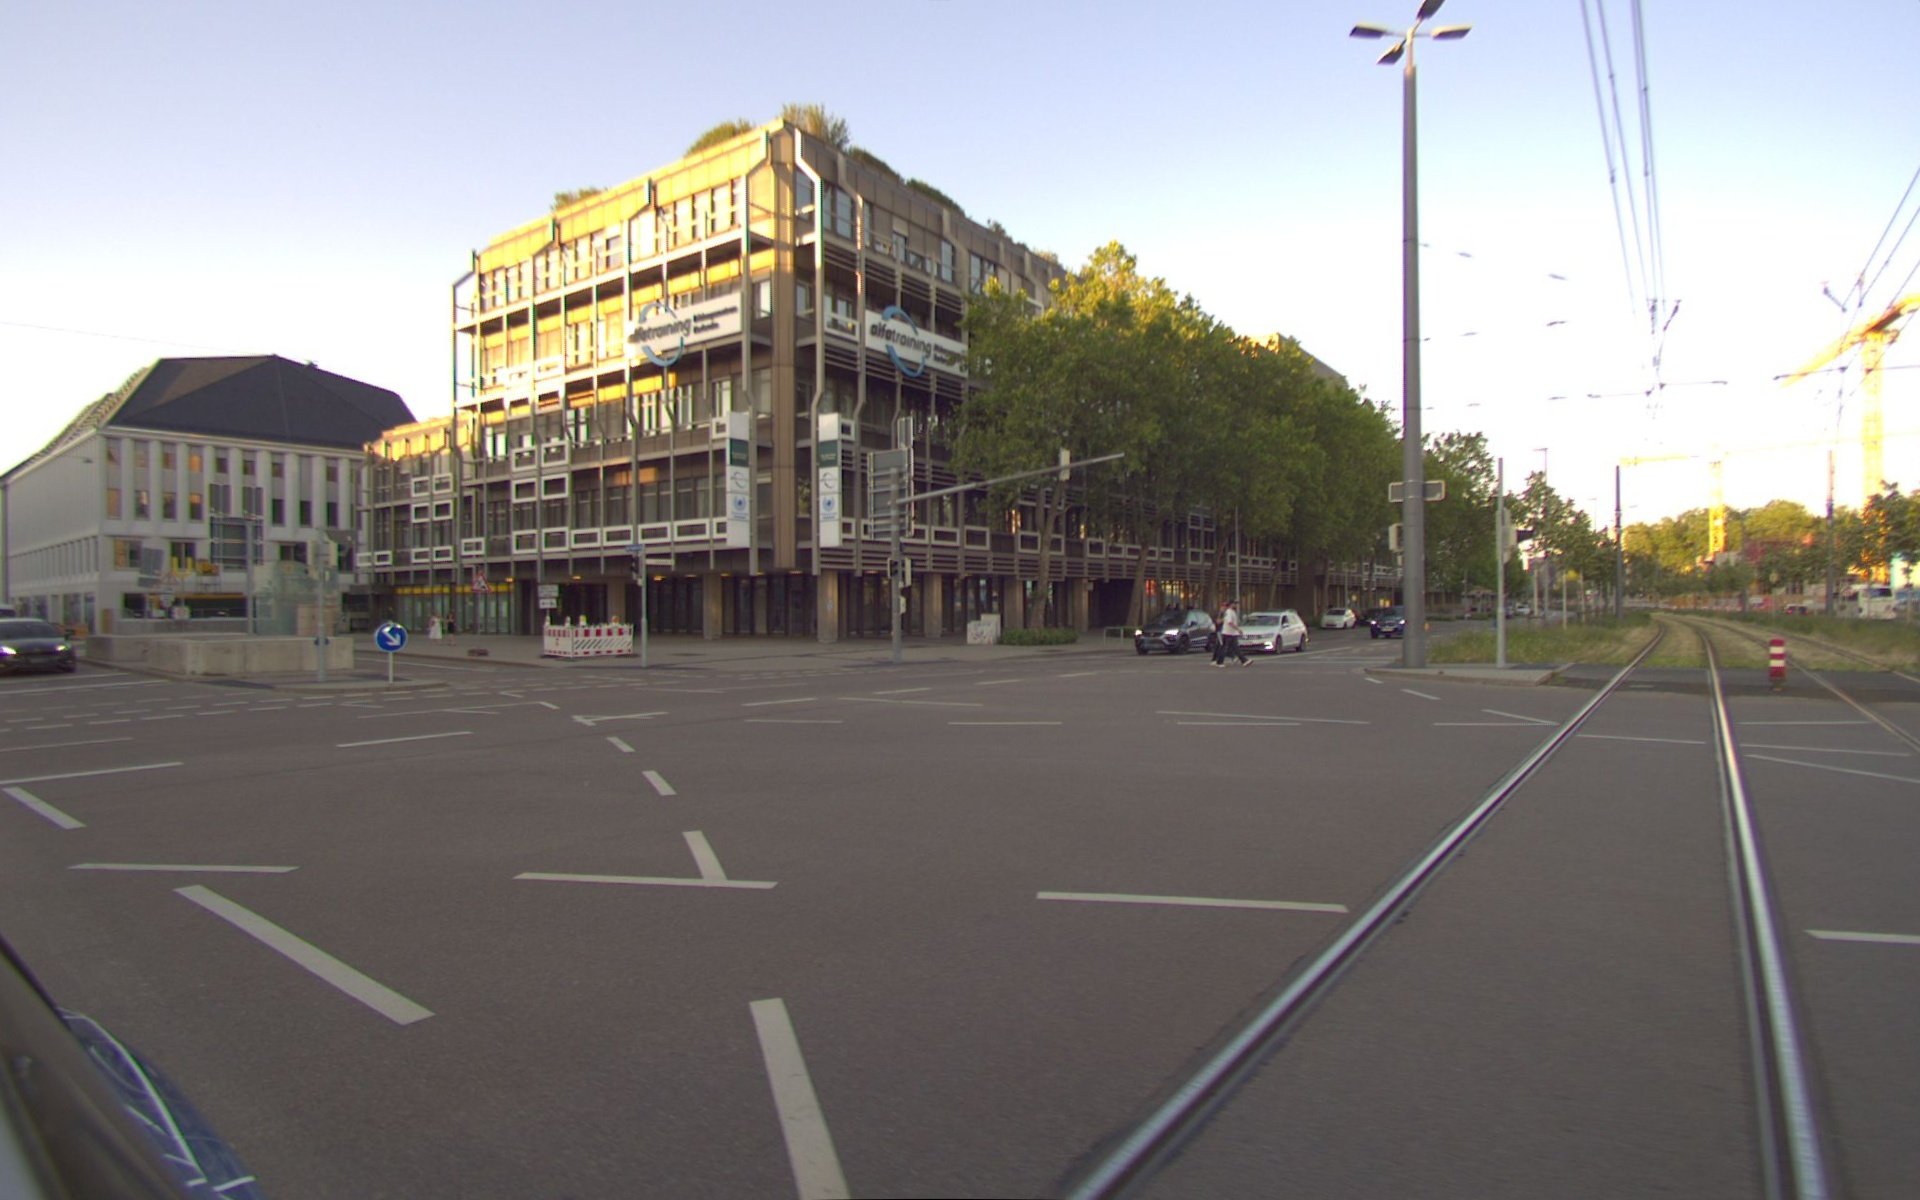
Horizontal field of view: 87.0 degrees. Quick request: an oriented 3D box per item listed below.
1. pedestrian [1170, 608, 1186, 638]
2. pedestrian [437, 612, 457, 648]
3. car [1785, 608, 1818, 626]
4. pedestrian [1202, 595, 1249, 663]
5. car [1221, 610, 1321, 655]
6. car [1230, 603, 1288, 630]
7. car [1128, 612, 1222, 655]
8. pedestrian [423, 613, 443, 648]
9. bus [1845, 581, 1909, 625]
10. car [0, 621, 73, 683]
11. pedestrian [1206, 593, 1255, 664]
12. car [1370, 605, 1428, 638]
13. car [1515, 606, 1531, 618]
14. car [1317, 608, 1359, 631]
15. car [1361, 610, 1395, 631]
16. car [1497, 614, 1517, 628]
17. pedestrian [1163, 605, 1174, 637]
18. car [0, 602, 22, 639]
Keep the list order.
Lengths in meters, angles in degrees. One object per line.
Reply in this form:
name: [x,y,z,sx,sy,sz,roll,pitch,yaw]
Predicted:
pedestrian: [13.942,1.467,64.693,0.755,1.819,0.714,1,2,35]
pedestrian: [-24.293,1.421,47.905,0.702,1.651,0.608,0,0,40]
car: [76.580,1.511,92.157,1.737,1.596,4.418,-1,-1,33]
pedestrian: [6.938,0.744,26.401,0.957,1.734,0.814,0,0,36]
car: [11.153,1.116,36.072,1.849,1.468,4.531,-1,-1,39]
car: [18.017,0.981,60.781,1.740,1.596,4.531,-1,-1,39]
car: [7.975,1.202,37.345,1.849,1.468,3.901,-1,-1,39]
pedestrian: [-24.694,1.419,47.413,0.583,1.651,0.662,0,0,39]
bus: [82.801,0.266,91.530,2.984,3.797,10.315,0,0,35]
car: [-25.736,1.357,27.469,4.375,1.473,1.740,0,1,39]
pedestrian: [6.773,0.708,25.326,0.957,1.734,0.814,0,0,36]
car: [22.131,1.067,50.917,1.846,1.596,4.538,-1,-1,34]
car: [80.102,1.735,144.009,1.737,1.596,4.540,-1,-1,33]
car: [26.975,1.371,72.098,1.740,1.596,3.747,-1,-1,38]
car: [33.607,1.663,81.382,1.737,1.596,4.540,-1,-1,33]
car: [64.946,2.471,120.216,1.737,1.596,4.540,-1,-1,33]
pedestrian: [13.475,1.323,65.429,0.516,2.028,0.575,1,2,35]
car: [-68.033,1.422,71.321,6.045,2.575,2.115,0,0,40]
